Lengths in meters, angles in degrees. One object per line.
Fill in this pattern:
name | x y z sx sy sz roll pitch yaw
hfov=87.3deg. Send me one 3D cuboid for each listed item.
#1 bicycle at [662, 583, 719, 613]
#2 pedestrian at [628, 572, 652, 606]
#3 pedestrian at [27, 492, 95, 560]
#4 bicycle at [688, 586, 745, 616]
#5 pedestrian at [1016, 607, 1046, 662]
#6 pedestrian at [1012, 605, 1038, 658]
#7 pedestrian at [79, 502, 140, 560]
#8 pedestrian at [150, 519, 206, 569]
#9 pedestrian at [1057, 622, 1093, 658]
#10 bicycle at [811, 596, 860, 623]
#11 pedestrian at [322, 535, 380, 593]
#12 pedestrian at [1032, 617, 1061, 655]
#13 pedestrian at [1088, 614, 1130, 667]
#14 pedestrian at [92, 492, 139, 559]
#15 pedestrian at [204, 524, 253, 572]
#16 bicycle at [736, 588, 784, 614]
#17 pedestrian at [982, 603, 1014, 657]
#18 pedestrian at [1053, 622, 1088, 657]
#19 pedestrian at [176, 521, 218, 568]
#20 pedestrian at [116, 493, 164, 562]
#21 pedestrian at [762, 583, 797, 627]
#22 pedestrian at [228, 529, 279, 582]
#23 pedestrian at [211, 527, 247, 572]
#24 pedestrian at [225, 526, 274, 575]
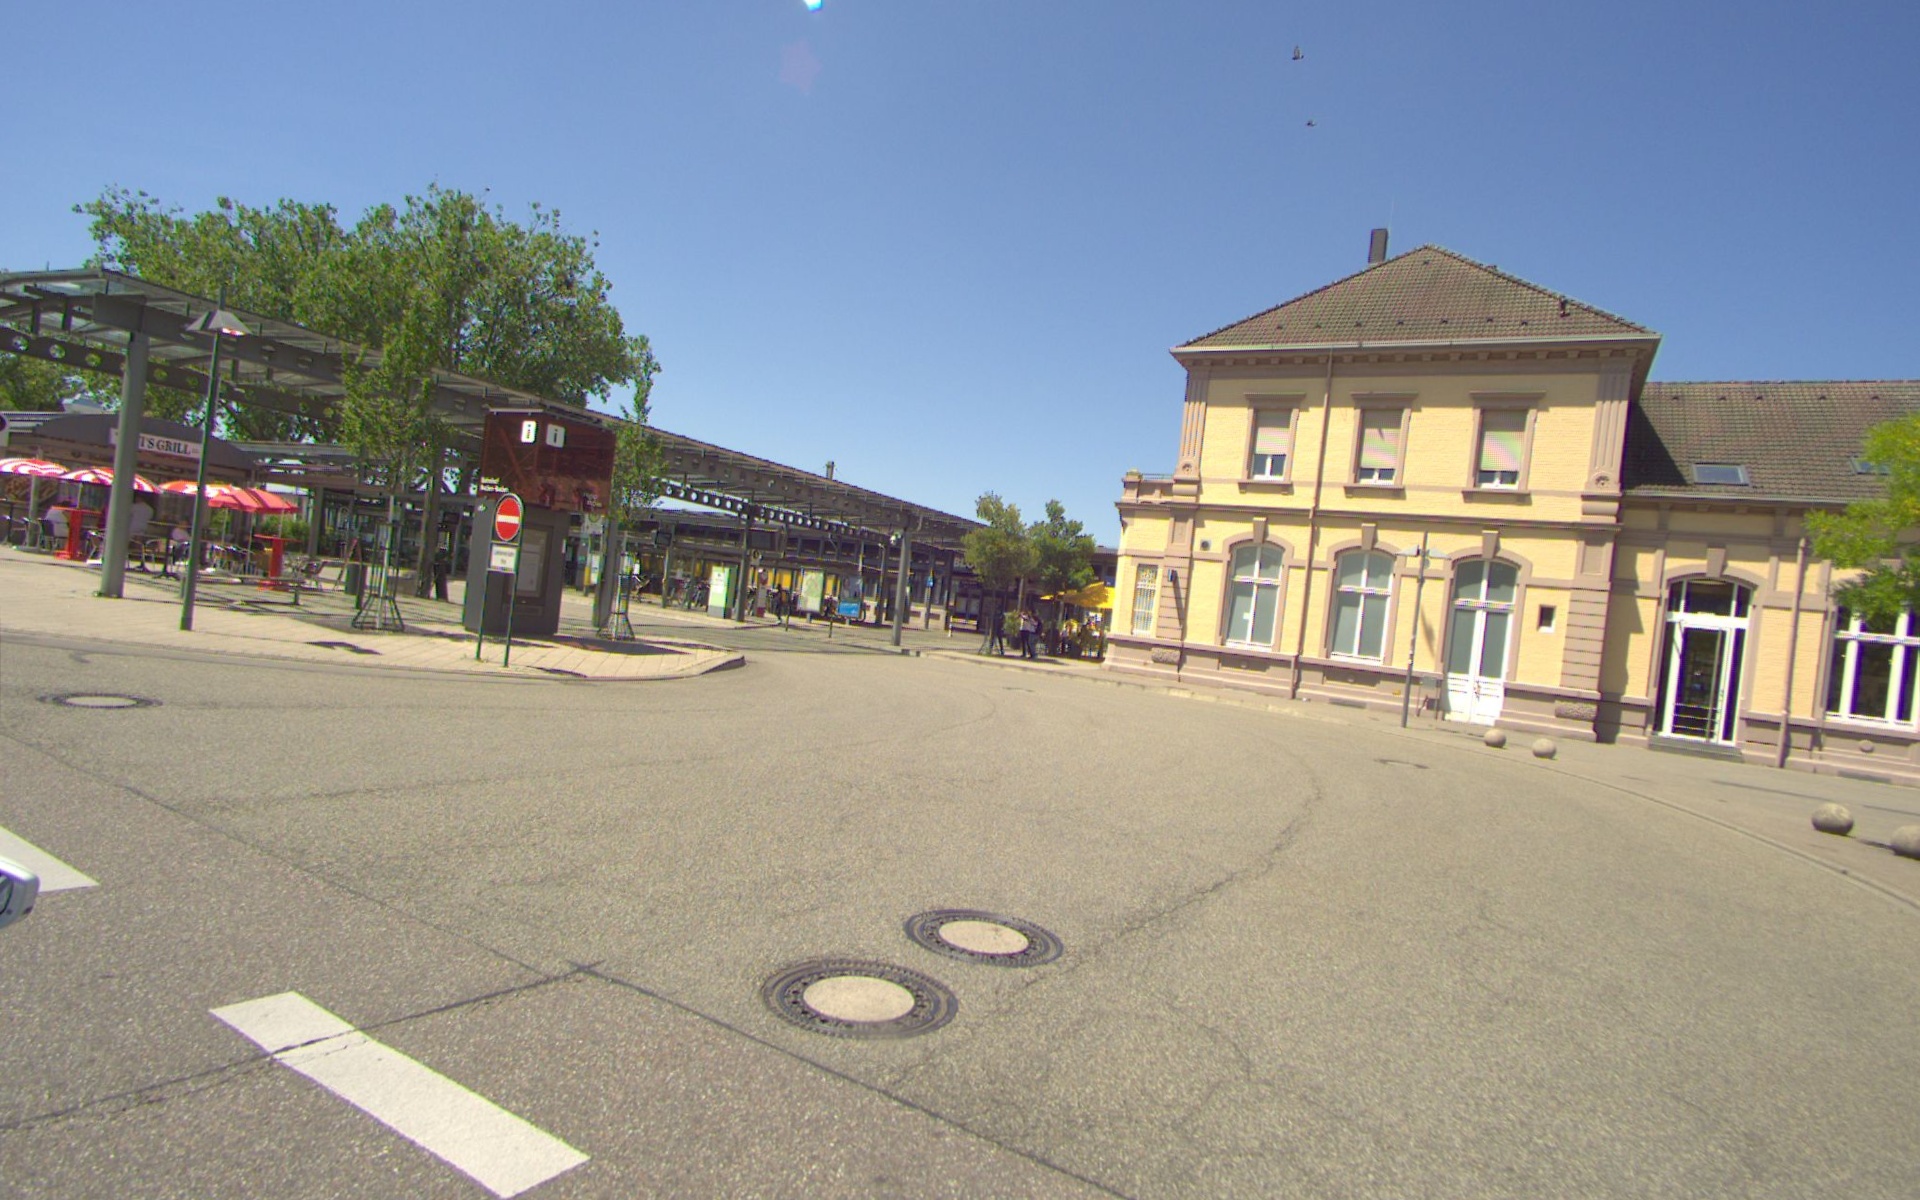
bicycle | -12.405 -0.090 46.414 0.797 1.014 2.795 6 -3 28
pedestrian | -14.064 -0.467 44.212 0.665 1.413 0.625 6 1 30
pedestrian | -20.995 -1.710 23.515 0.676 1.435 0.894 7 0 -7
bicycle | -11.120 0.058 46.003 0.797 1.014 2.795 6 -3 28
pedestrian | 2.492 1.200 35.378 0.626 1.831 0.590 6 1 -39
pedestrian | 2.349 1.144 36.340 0.547 1.831 0.493 6 1 -39
pedestrian | -21.609 -1.734 25.571 0.676 1.328 0.894 7 0 -4
pedestrian | -20.810 -1.480 26.786 0.676 1.175 0.894 7 0 -4
pedestrian | 4.655 1.608 40.841 1.035 1.371 0.974 5 2 33
bicycle | -6.380 0.497 51.723 0.950 1.014 2.795 6 -3 28
pedestrian | -15.169 -0.887 25.054 0.881 1.293 0.846 7 0 35
pedestrian | 3.452 1.422 40.031 0.958 1.371 1.052 5 1 10
pedestrian | 5.645 1.547 38.129 1.064 1.869 1.082 7 0 28
pedestrian | -23.784 -2.102 28.337 0.695 1.759 0.687 7 0 30
pedestrian | -20.723 -1.464 28.498 0.725 1.218 0.761 6 -3 30
bicycle | -10.879 0.074 54.808 0.950 1.014 2.795 6 -3 28
pedestrian | 1.355 1.075 35.913 0.685 1.831 0.625 6 1 -38
pedestrian | 4.654 1.654 42.359 1.038 1.371 0.971 4 2 -26
pedestrian | -21.821 -1.574 28.774 0.582 1.218 0.657 6 -2 30
pedestrian | -22.436 -1.981 27.518 0.695 1.759 0.687 7 0 30
pedestrian | -7.208 0.200 40.144 0.920 1.610 0.846 7 0 -45
pedestrian | -17.411 -1.098 24.799 0.881 1.175 0.686 7 0 35
pedestrian | -21.411 -1.479 29.478 0.654 1.218 0.585 9 -3 -44
pedestrian | -19.782 -1.367 28.000 0.725 1.218 0.761 6 -3 30
